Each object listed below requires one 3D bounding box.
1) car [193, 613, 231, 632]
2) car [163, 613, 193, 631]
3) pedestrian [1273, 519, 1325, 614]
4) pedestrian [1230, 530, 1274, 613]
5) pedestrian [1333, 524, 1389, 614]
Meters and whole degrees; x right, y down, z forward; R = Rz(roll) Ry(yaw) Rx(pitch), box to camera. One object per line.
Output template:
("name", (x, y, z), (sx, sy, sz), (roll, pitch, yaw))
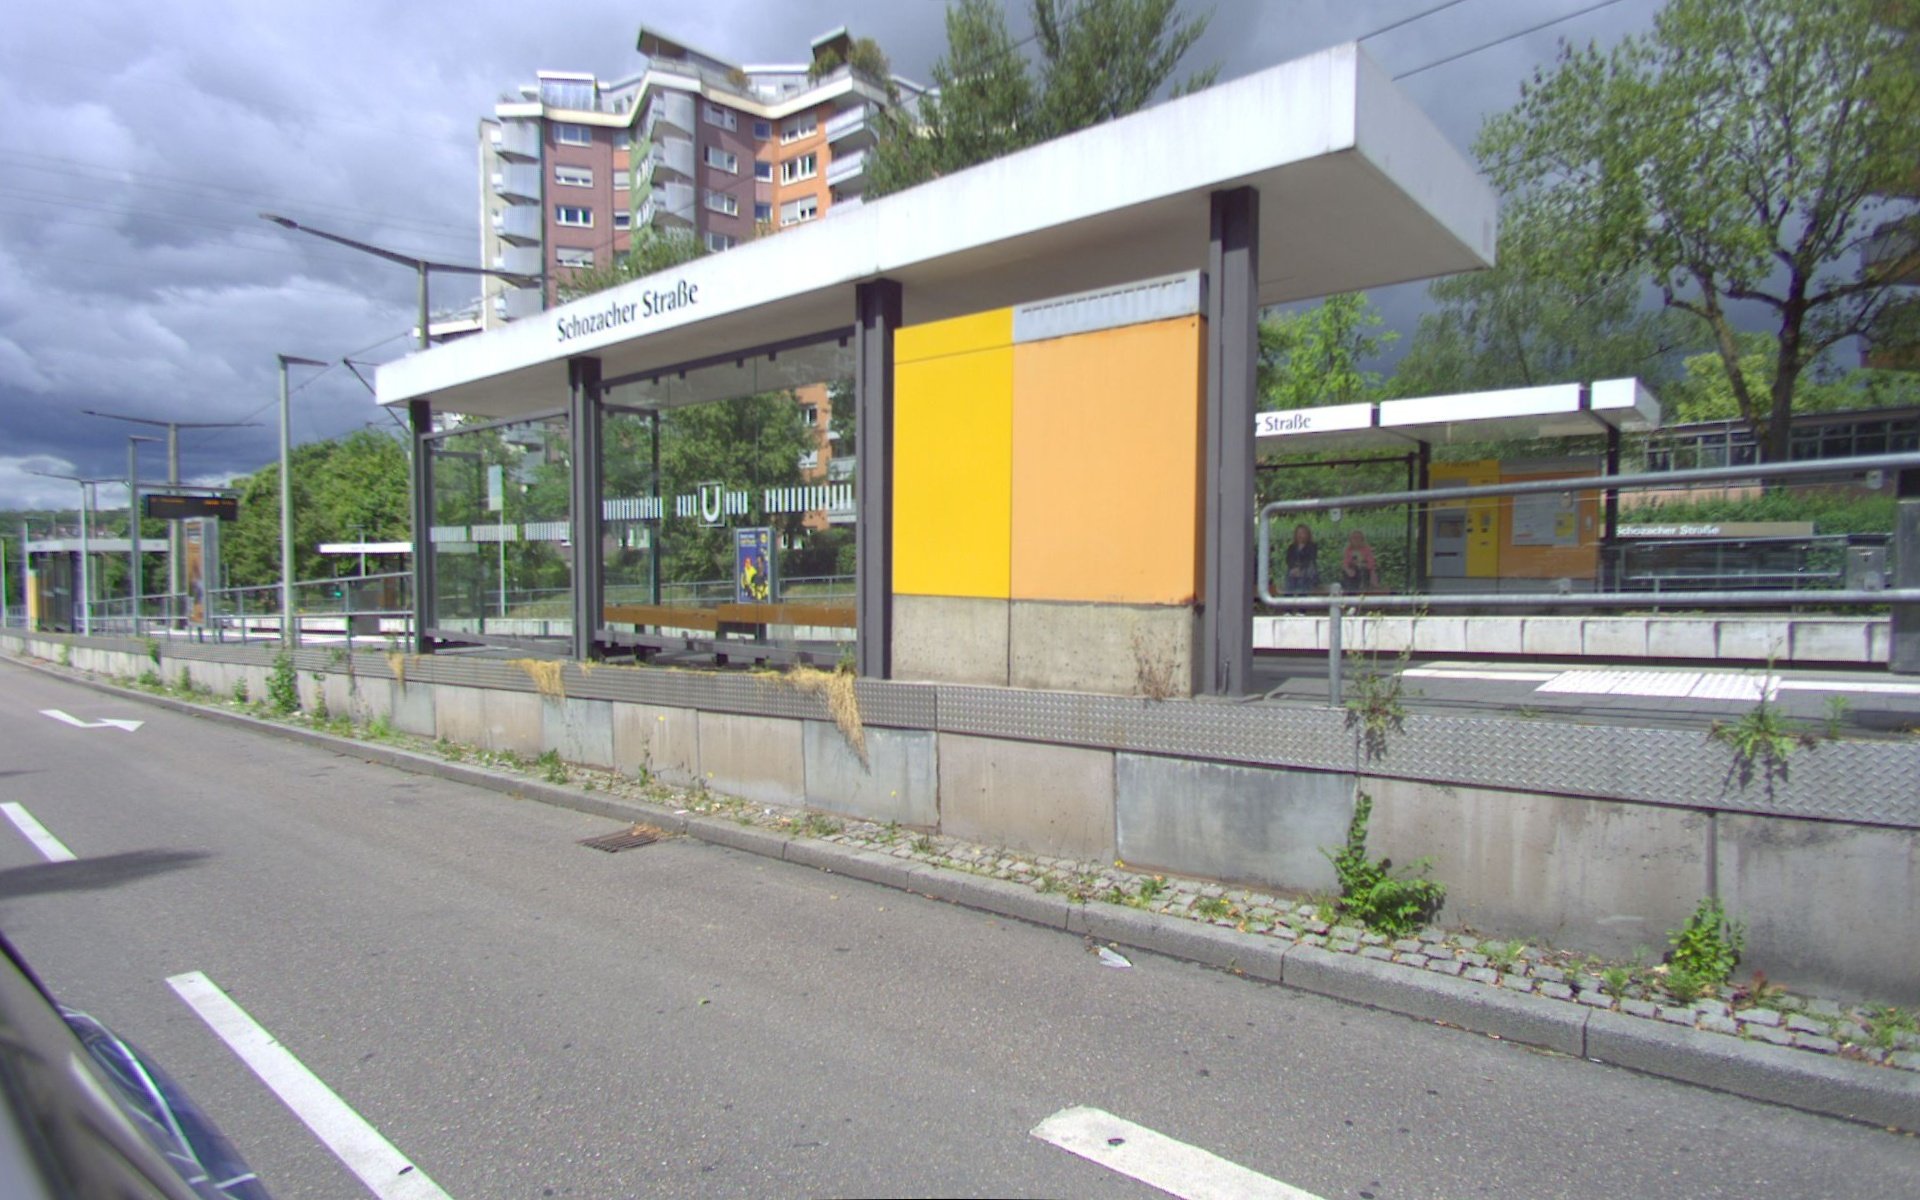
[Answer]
("car", (-58.257, 1.725, 78.797), (3.999, 1.429, 1.637), (-1, 0, 42))
("car", (-69.880, 1.956, 90.426), (1.635, 1.524, 3.740), (-1, 0, -45))
("pedestrian", (5.028, -0.484, 14.999), (0.506, 1.379, 0.637), (-1, -1, 41))
("pedestrian", (4.499, -0.423, 15.609), (0.541, 1.246, 0.516), (-1, -1, 29))
("pedestrian", (5.702, -0.426, 14.373), (0.517, 1.246, 0.734), (-1, -1, 41))
